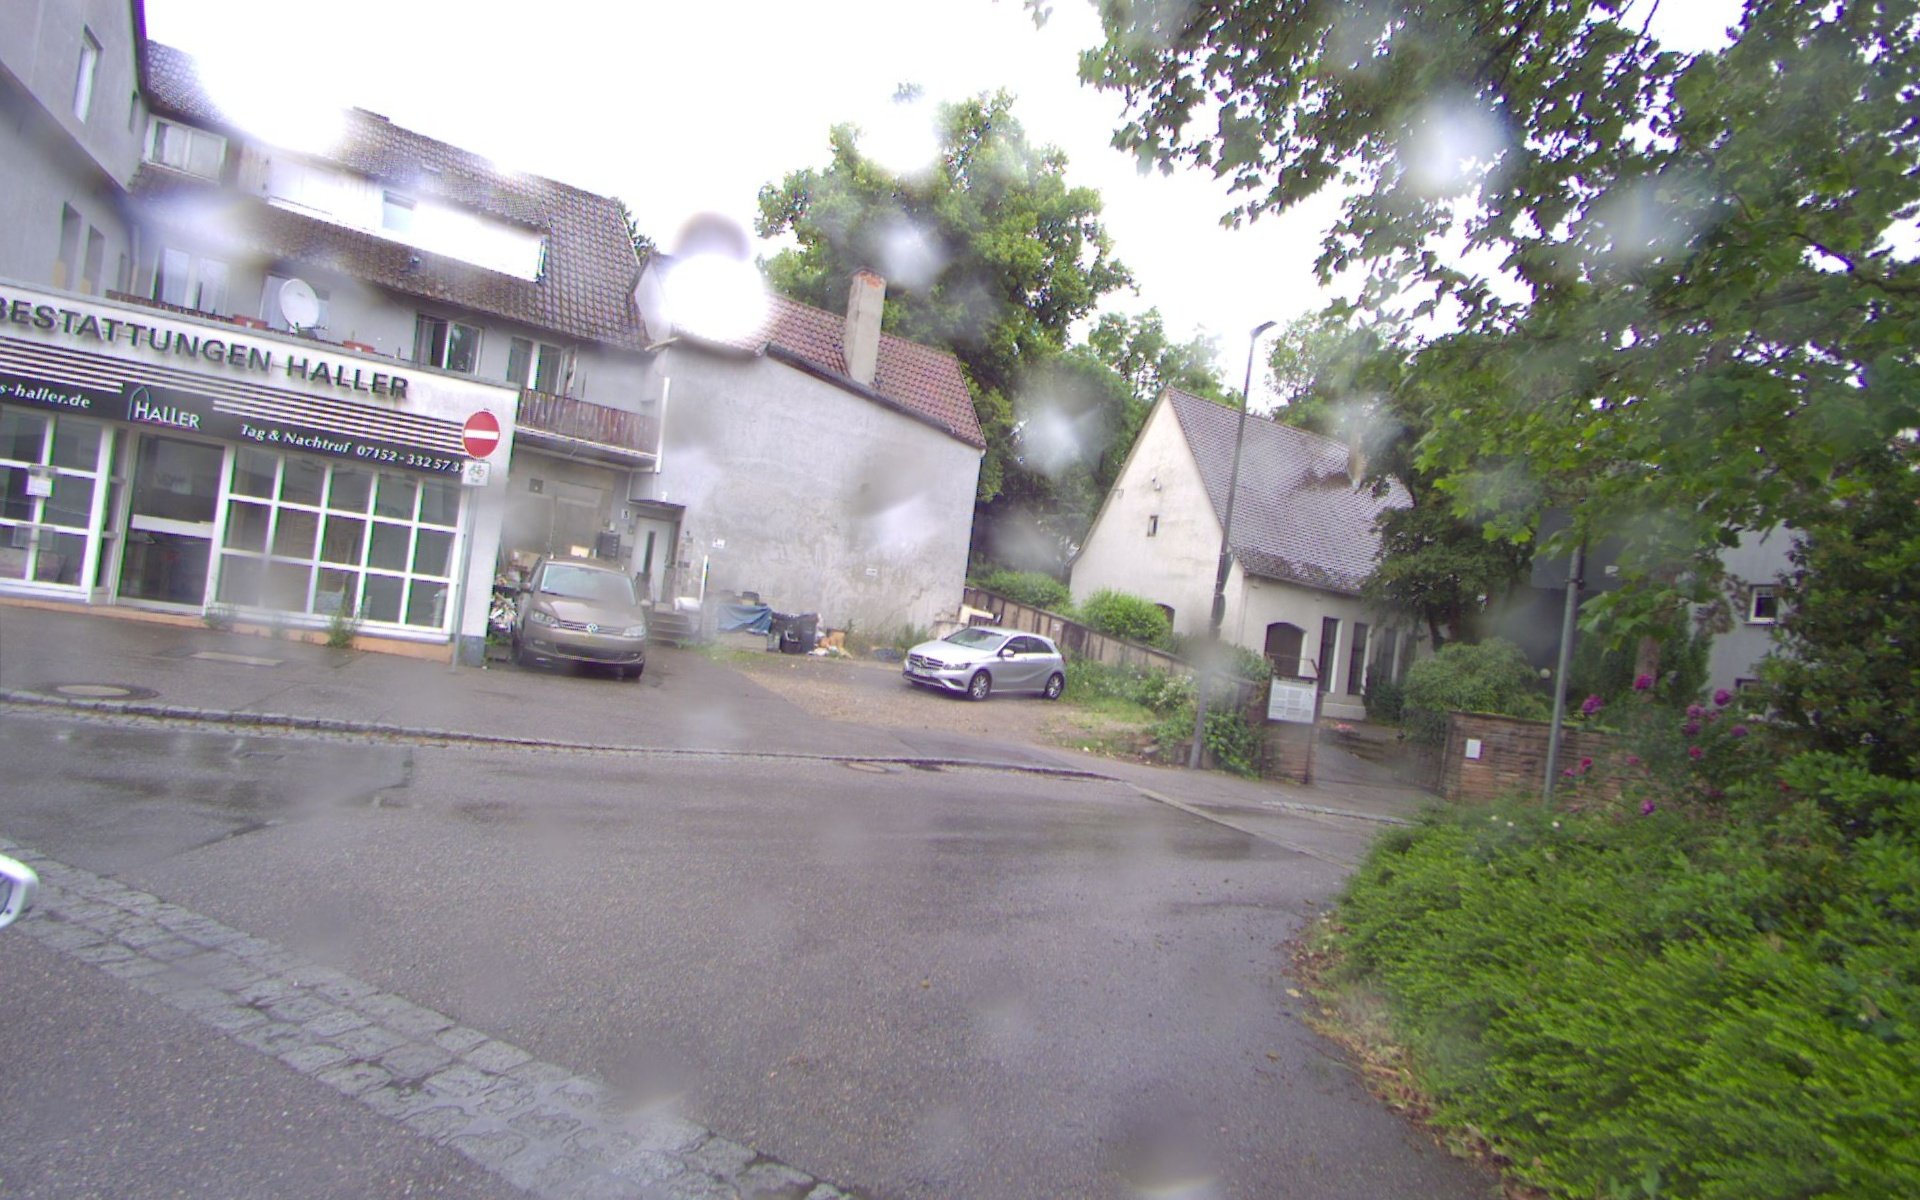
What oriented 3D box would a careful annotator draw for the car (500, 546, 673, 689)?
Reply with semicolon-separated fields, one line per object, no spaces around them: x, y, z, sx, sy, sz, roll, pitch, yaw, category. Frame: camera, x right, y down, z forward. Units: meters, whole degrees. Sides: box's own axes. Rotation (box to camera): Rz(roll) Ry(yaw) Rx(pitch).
-6.285;0.173;16.552;1.908;1.749;4.634;8;0;-28;car

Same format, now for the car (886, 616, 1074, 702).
0.507;1.303;21.382;1.717;1.406;4.022;10;2;40;car
